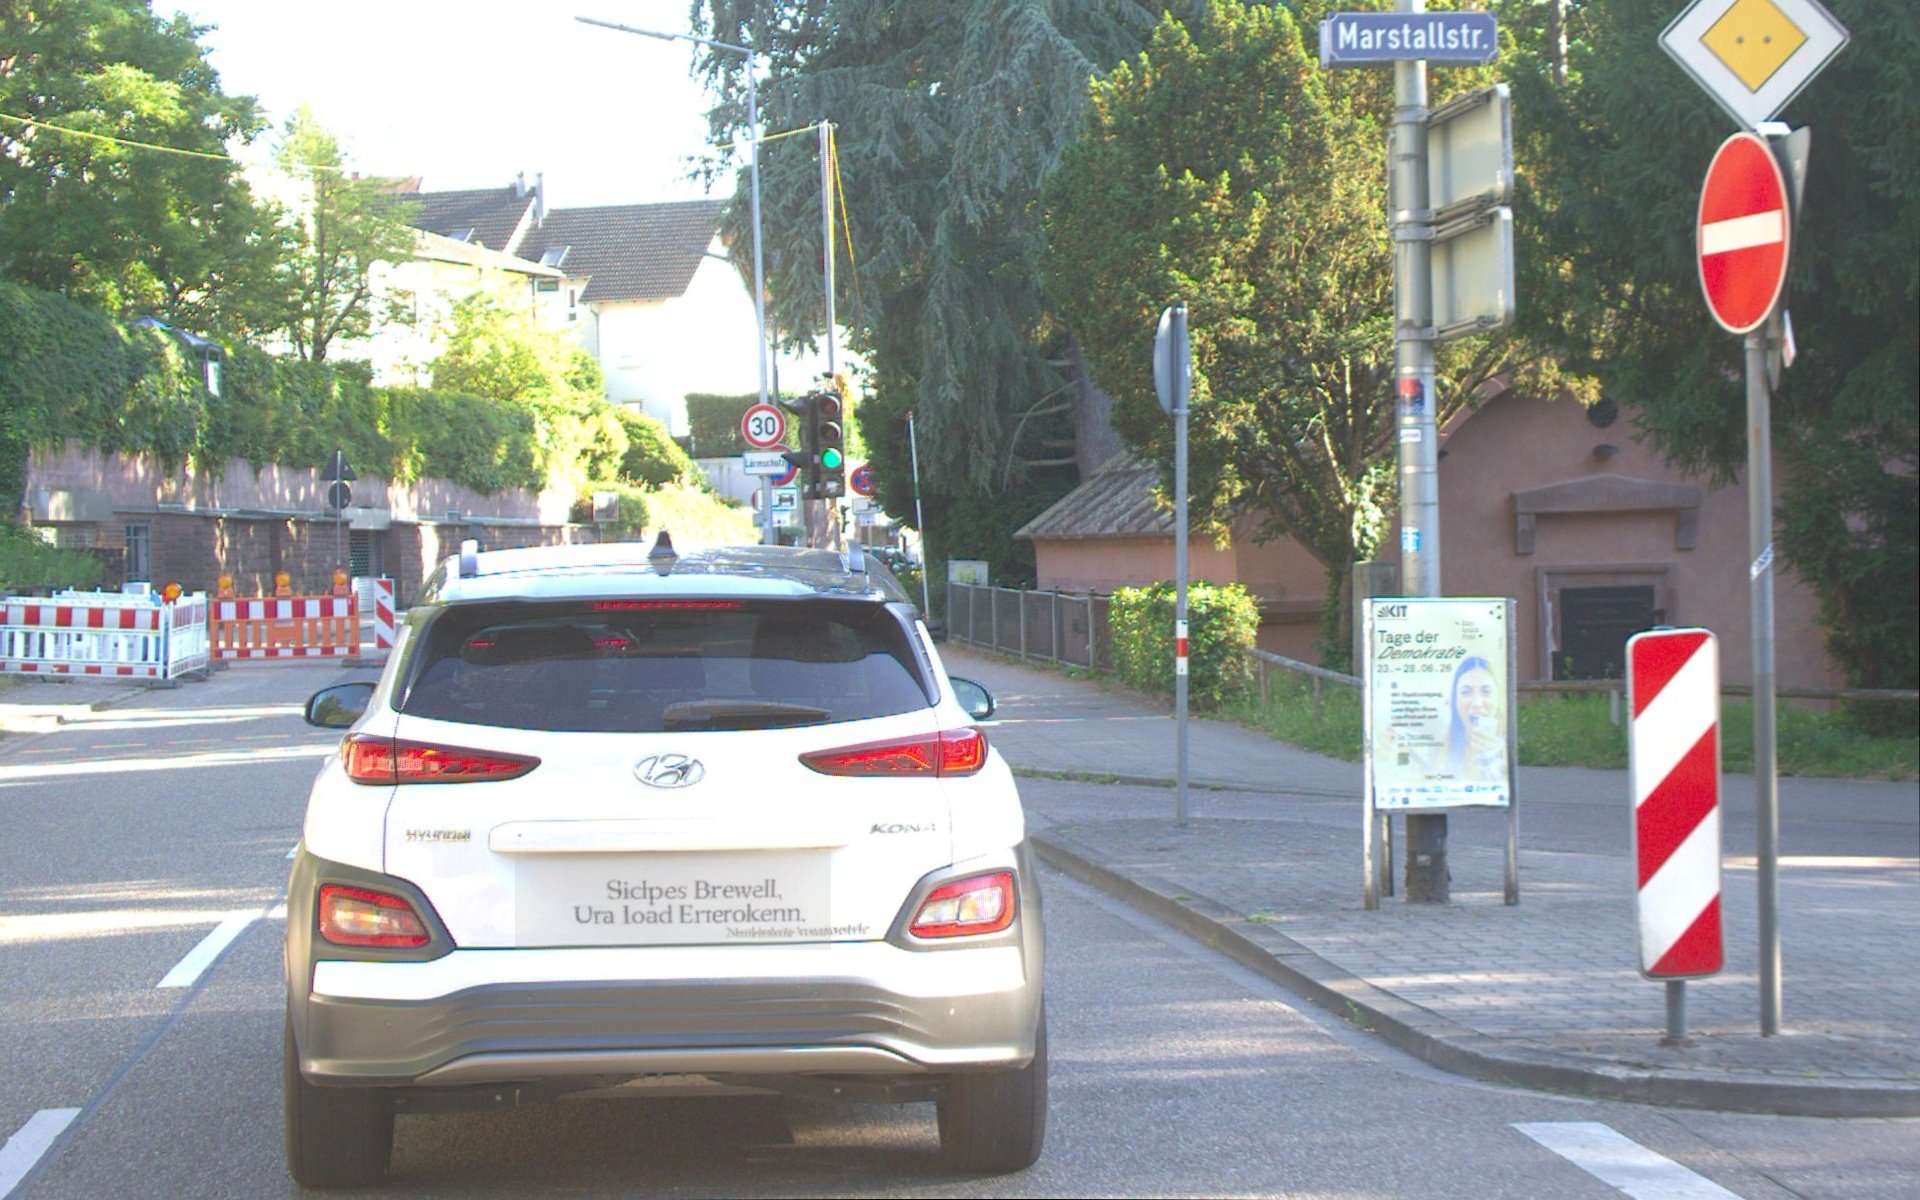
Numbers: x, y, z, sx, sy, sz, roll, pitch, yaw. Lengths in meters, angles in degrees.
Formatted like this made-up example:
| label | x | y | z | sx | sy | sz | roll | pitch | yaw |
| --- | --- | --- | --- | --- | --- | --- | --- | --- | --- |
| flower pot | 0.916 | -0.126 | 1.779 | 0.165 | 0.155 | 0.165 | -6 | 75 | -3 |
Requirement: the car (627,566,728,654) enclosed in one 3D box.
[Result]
| label | x | y | z | sx | sy | sz | roll | pitch | yaw |
| --- | --- | --- | --- | --- | --- | --- | --- | --- | --- |
| car | -5.673 | 0.174 | 69.318 | 1.831 | 1.656 | 4.001 | 1 | 1 | -2 |

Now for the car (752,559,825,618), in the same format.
| label | x | y | z | sx | sy | sz | roll | pitch | yaw |
| --- | --- | --- | --- | --- | --- | --- | --- | --- | --- |
| car | -4.993 | -0.367 | 100.699 | 1.831 | 1.656 | 4.000 | 1 | 1 | 1 |

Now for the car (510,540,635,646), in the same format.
| label | x | y | z | sx | sy | sz | roll | pitch | yaw |
| --- | --- | --- | --- | --- | --- | --- | --- | --- | --- |
| car | -5.937 | -0.132 | 52.664 | 1.805 | 1.532 | 4.001 | 1 | 1 | -7 |

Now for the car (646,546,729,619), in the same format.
| label | x | y | z | sx | sy | sz | roll | pitch | yaw |
| --- | --- | --- | --- | --- | --- | --- | --- | --- | --- |
| car | -6.689 | -0.450 | 84.667 | 1.831 | 1.735 | 4.000 | 0 | 1 | -2 |

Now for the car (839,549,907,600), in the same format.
| label | x | y | z | sx | sy | sz | roll | pitch | yaw |
| --- | --- | --- | --- | --- | --- | --- | --- | --- | --- |
| car | -2.884 | -0.866 | 114.820 | 1.832 | 1.656 | 3.999 | 1 | 1 | 5 |

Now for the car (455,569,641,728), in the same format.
| label | x | y | z | sx | sy | sz | roll | pitch | yaw |
| --- | --- | --- | --- | --- | --- | --- | --- | --- | --- |
| car | -4.128 | 0.437 | 34.299 | 1.707 | 1.429 | 4.366 | 1 | 1 | -7 |

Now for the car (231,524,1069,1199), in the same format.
| label | x | y | z | sx | sy | sz | roll | pitch | yaw |
| --- | --- | --- | --- | --- | --- | --- | --- | --- | --- |
| car | -0.797 | 0.596 | 9.565 | 1.820 | 1.568 | 4.001 | 1 | 1 | -3 |
